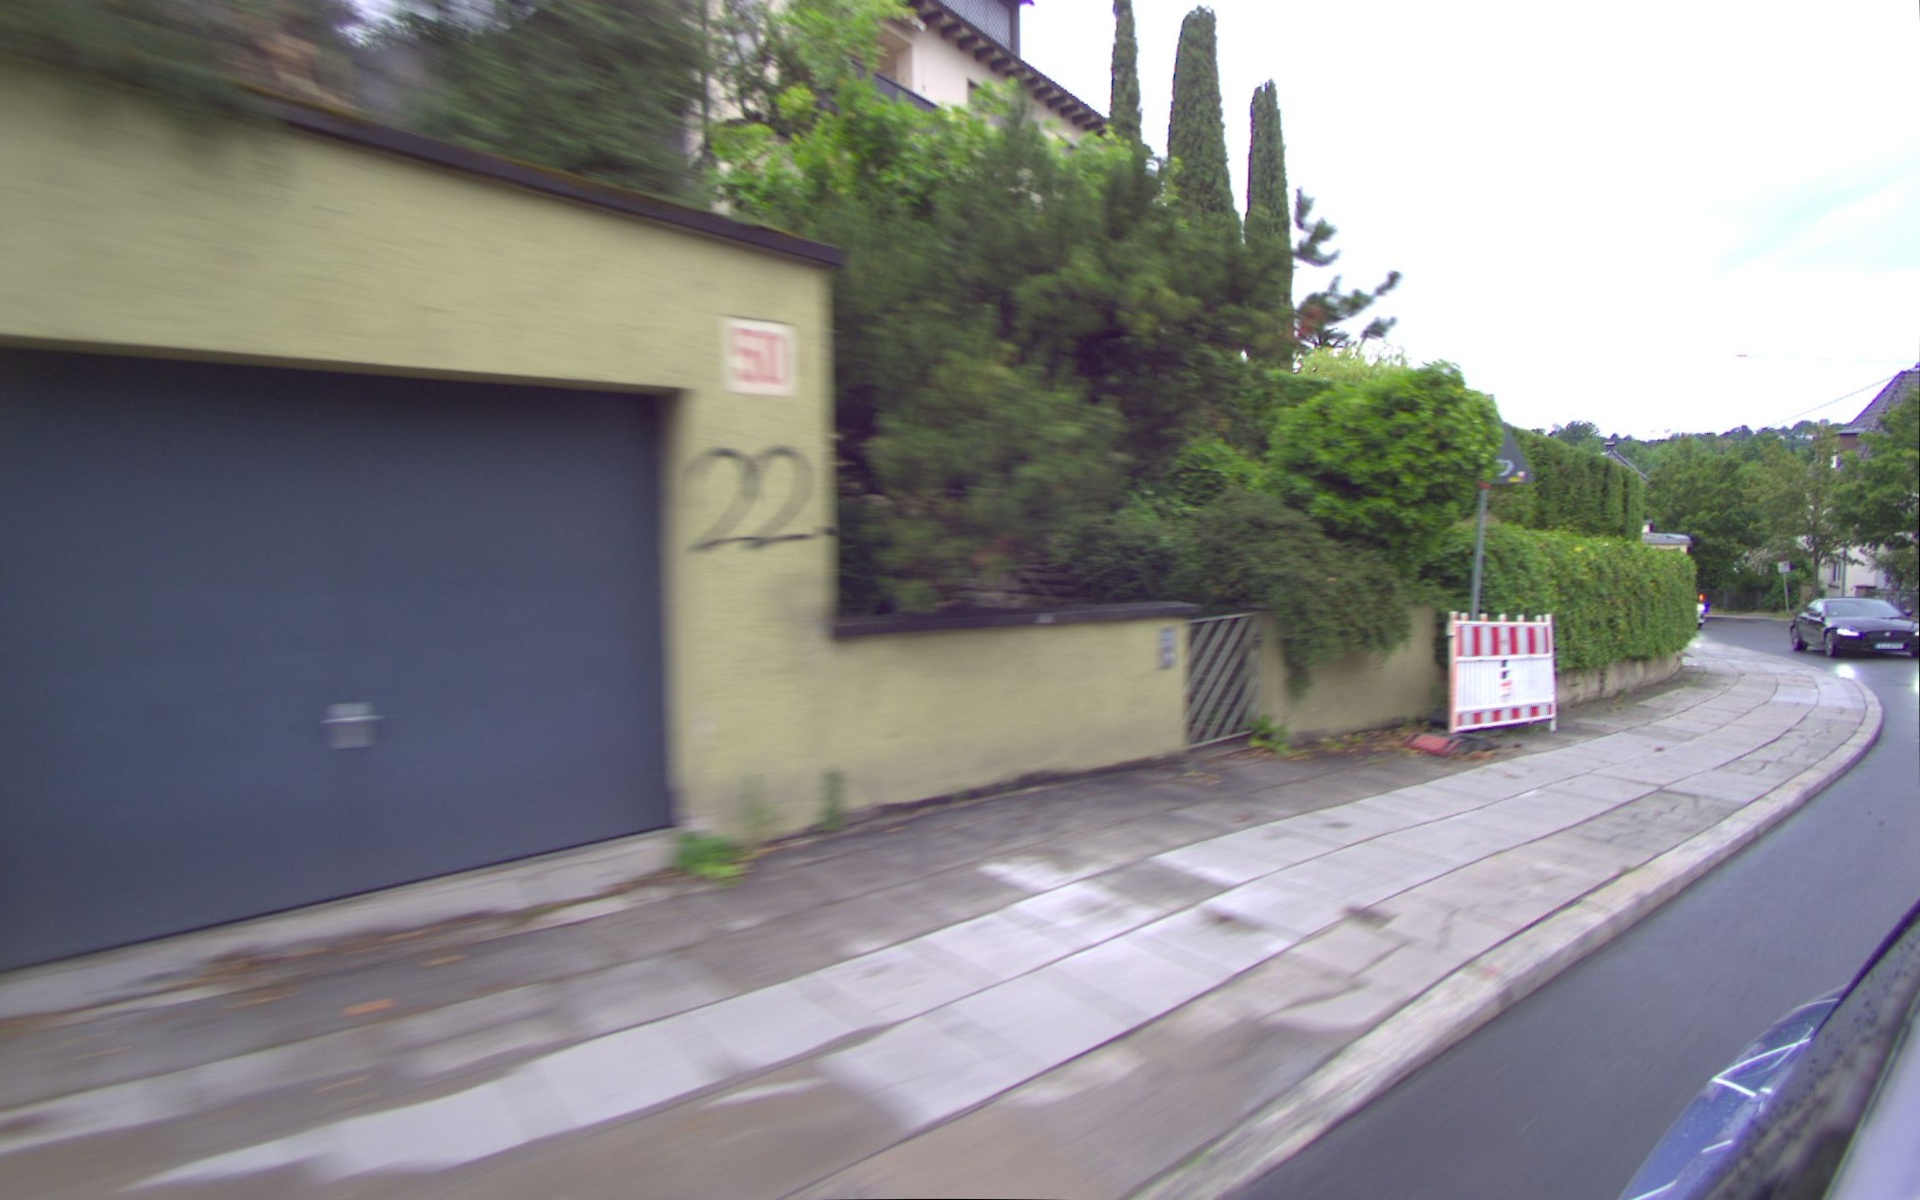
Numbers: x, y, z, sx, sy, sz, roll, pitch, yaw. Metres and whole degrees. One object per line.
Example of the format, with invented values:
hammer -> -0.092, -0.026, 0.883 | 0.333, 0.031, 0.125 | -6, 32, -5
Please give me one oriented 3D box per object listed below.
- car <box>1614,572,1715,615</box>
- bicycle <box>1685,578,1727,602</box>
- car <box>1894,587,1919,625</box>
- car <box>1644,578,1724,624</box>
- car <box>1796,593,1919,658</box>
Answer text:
car -> 34.003, -0.361, 49.053 | 1.871, 1.913, 5.142 | 1, 1, 8
bicycle -> 41.877, -0.559, 56.840 | 0.482, 1.288, 2.275 | -2, 0, -5
car -> 45.189, 0.620, 45.642 | 3.979, 1.601, 1.834 | 14, 9, 32
car -> 29.039, -0.019, 40.747 | 1.983, 1.730, 4.529 | 2, 2, 28
car -> 22.684, 0.572, 25.305 | 1.826, 1.420, 4.034 | 2, 2, 27
